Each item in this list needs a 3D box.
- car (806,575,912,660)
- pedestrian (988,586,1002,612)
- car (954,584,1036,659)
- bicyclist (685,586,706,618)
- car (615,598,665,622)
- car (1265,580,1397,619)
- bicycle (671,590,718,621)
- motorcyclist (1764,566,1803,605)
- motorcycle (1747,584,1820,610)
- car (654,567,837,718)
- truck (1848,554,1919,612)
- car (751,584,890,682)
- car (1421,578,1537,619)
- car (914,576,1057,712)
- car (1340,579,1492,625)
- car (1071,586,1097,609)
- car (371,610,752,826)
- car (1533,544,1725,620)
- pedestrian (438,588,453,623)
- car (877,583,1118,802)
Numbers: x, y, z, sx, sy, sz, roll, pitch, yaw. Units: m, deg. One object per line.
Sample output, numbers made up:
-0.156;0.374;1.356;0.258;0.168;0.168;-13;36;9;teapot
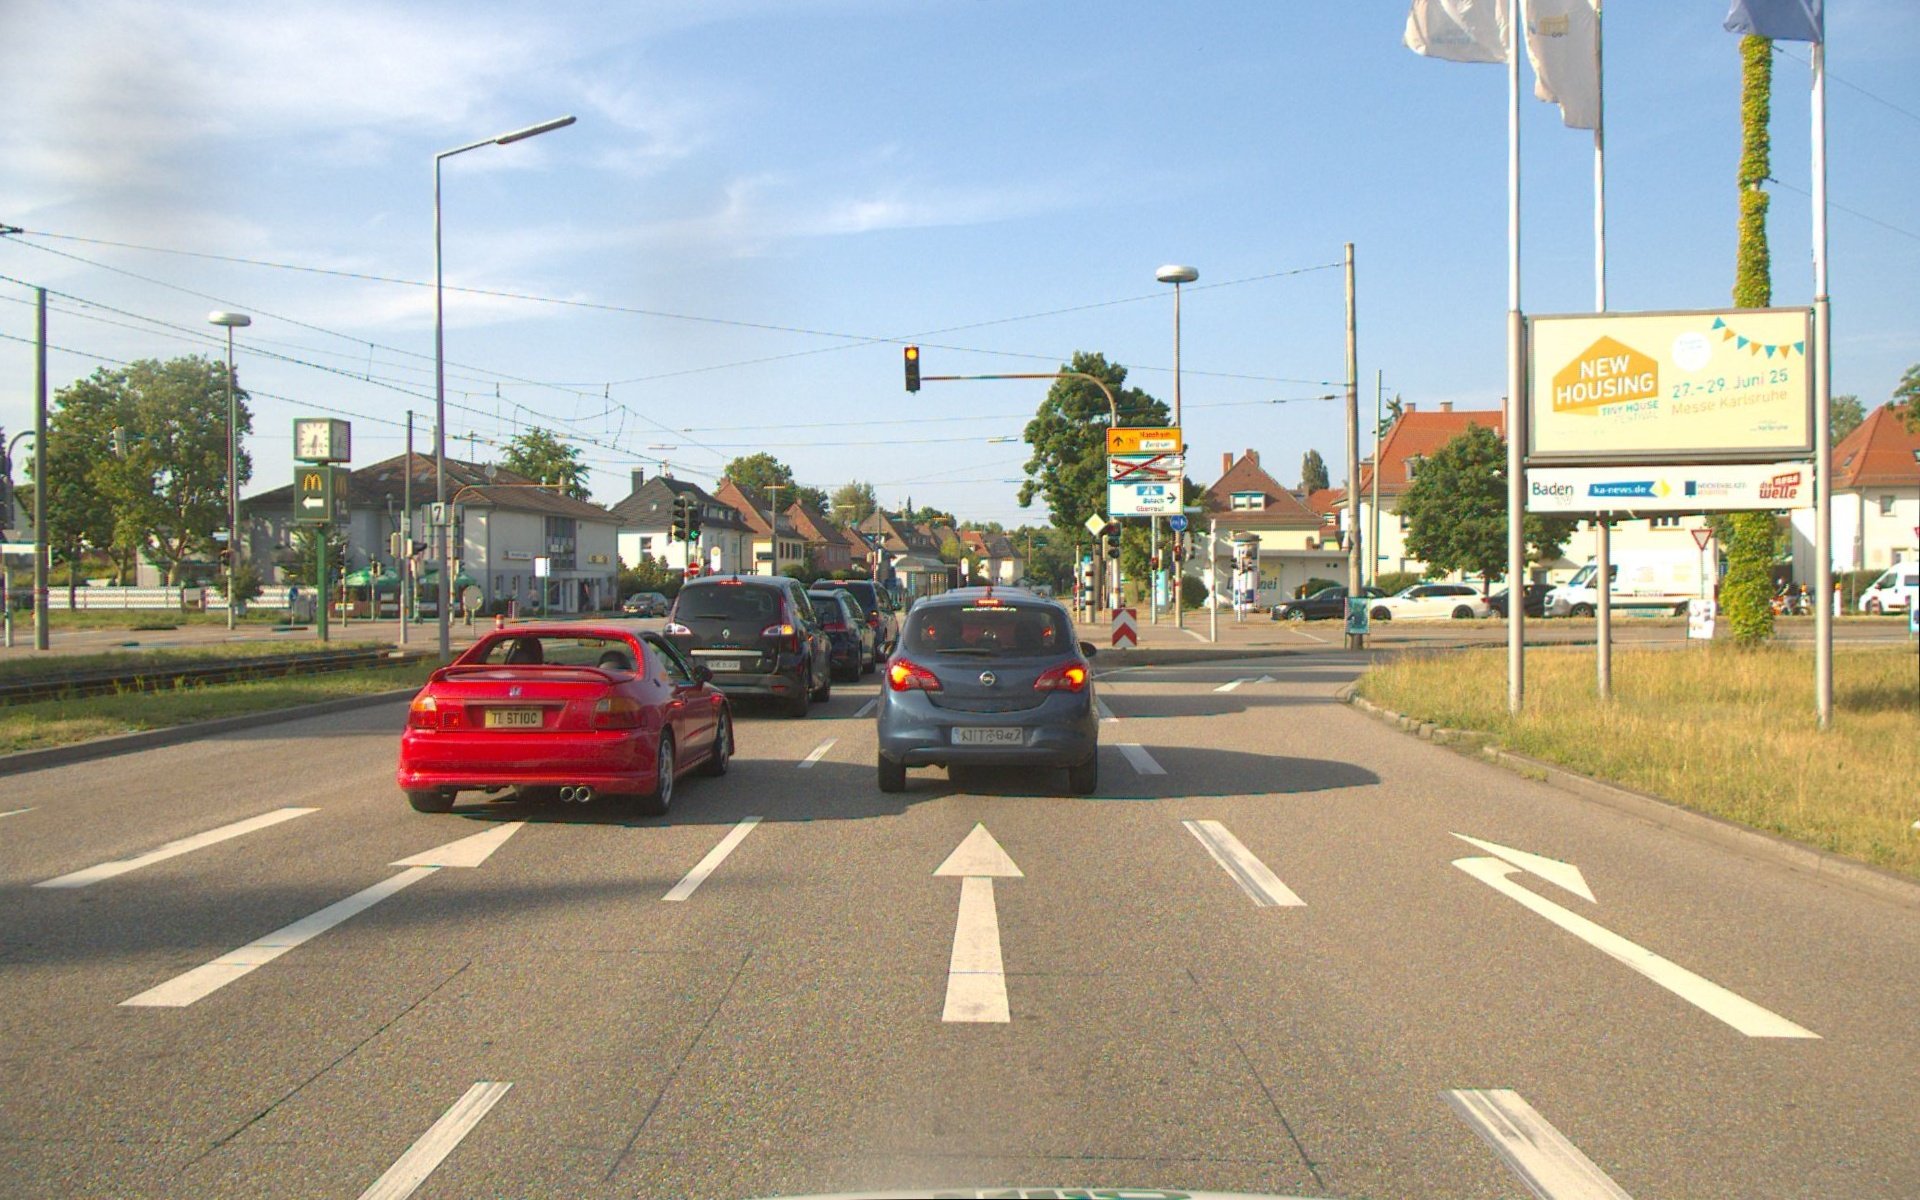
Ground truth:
-2.076;0.328;35.210;1.474;1.680;4.747;-1;0;6;car
2.050;-0.076;97.468;0.737;1.525;0.827;1;-1;5;pedestrian
0.730;0.414;34.785;1.622;1.468;4.015;-1;0;1;car
-12.150;0.098;76.015;0.867;1.456;1.135;1;-1;-6;bicyclist
-19.086;0.604;98.861;1.628;1.369;4.080;-1;-1;8;car
14.140;-0.019;63.223;4.722;1.436;1.717;-1;0;4;car
-12.198;0.255;76.017;2.034;1.371;1.107;1;-1;-6;bicycle
28.955;-0.504;58.160;1.043;1.375;0.680;0;0;2;motorcyclist
28.963;-0.107;58.166;2.224;0.882;0.691;0;0;2;motorcycle
-2.550;0.455;20.556;1.727;1.700;4.084;0;1;0;car
43.193;-0.774;73.570;2.248;2.568;6.290;-1;1;-31;truck
-2.273;0.490;28.028;1.664;1.534;4.556;0;1;4;car
19.711;-0.063;62.917;3.903;1.478;1.717;-1;0;4;car
0.317;0.506;21.549;1.671;1.579;3.978;-1;0;1;car
16.385;0.068;59.581;4.987;1.590;1.841;-1;0;4;car
8.084;-0.161;108.269;1.639;1.422;4.002;1;0;4;car
-2.696;0.737;12.092;1.695;1.227;3.848;1;1;2;car
23.895;-0.633;59.240;6.078;2.629;2.001;0;0;3;car
-23.913;0.269;76.847;0.501;1.627;0.539;0;0;-1;pedestrian
0.254;0.634;13.890;1.706;1.532;4.222;0;1;0;car
